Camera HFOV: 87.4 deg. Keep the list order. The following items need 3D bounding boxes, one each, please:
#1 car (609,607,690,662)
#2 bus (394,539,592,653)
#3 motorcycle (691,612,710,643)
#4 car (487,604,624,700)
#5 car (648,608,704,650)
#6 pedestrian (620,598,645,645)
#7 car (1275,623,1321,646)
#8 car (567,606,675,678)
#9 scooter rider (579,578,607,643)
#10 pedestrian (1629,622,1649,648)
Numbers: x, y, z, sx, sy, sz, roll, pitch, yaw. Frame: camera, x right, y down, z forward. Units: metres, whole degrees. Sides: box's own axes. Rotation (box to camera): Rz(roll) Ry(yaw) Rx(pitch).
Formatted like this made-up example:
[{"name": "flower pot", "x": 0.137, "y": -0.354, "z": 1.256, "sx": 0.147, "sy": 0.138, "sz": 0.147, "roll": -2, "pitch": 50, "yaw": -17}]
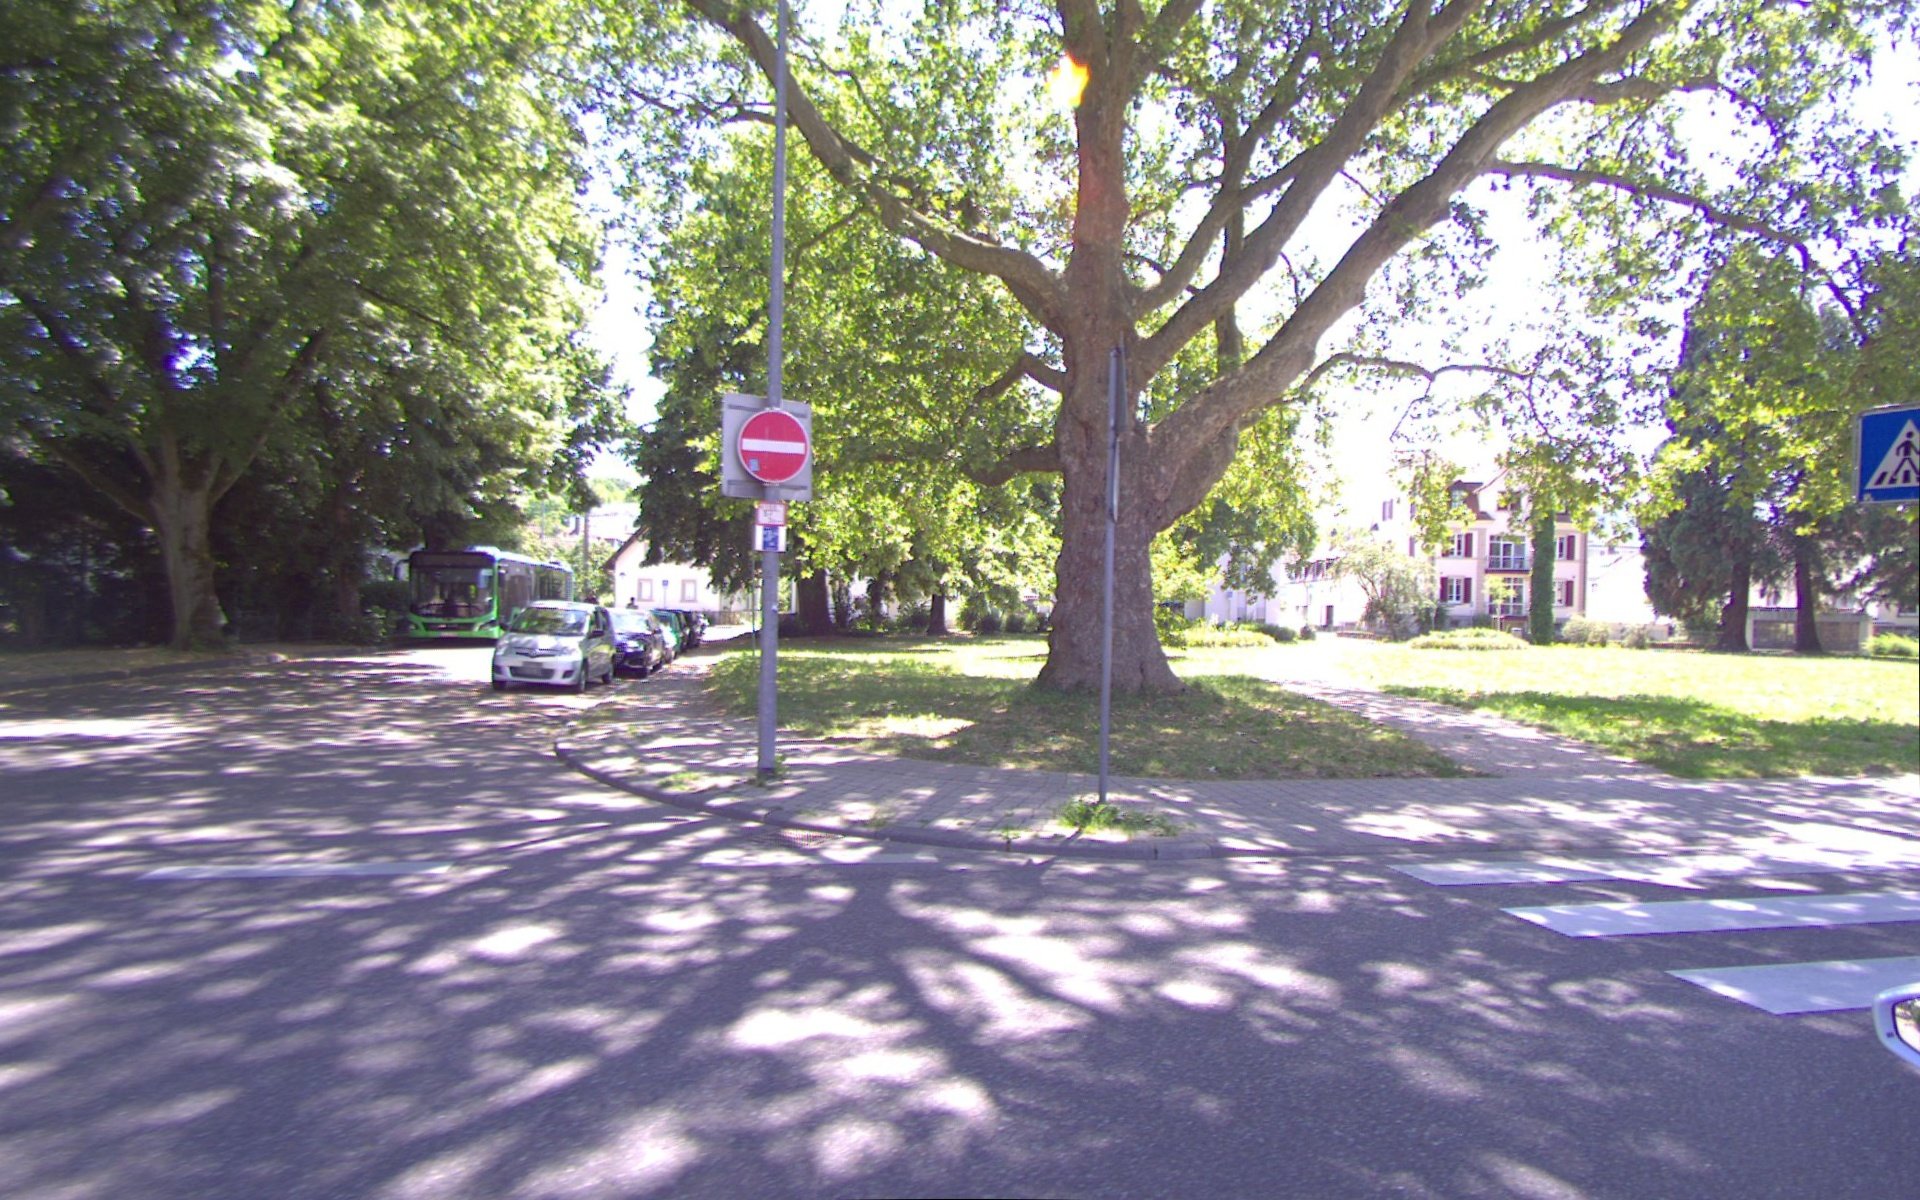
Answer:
[{"name": "car", "x": -9.063, "y": 0.962, "z": 29.610, "sx": 1.725, "sy": 1.458, "sz": 4.760, "roll": 1, "pitch": -1, "yaw": -11}, {"name": "bus", "x": -16.755, "y": -0.047, "z": 37.729, "sx": 2.826, "sy": 3.339, "sz": 15.919, "roll": 1, "pitch": -1, "yaw": -11}, {"name": "motorcycle", "x": -12.717, "y": 1.348, "z": 49.337, "sx": 0.700, "sy": 1.445, "sz": 2.257, "roll": 1, "pitch": 0, "yaw": -10}, {"name": "car", "x": -7.147, "y": 0.861, "z": 18.056, "sx": 1.572, "sy": 1.517, "sz": 3.479, "roll": 2, "pitch": -1, "yaw": -11}, {"name": "car", "x": -10.868, "y": 1.088, "z": 38.606, "sx": 1.729, "sy": 1.513, "sz": 3.910, "roll": 1, "pitch": 0, "yaw": -11}, {"name": "pedestrian", "x": -12.850, "y": 0.849, "z": 39.460, "sx": 0.708, "sy": 1.826, "sz": 0.940, "roll": 1, "pitch": 0, "yaw": -5}, {"name": "car", "x": 25.554, "y": 2.610, "z": 76.066, "sx": 1.962, "sy": 1.604, "sz": 3.999, "roll": 2, "pitch": -2, "yaw": -4}, {"name": "car", "x": -7.777, "y": 0.908, "z": 23.418, "sx": 1.725, "sy": 1.458, "sz": 4.494, "roll": 2, "pitch": -1, "yaw": -11}, {"name": "scooter rider", "x": -13.397, "y": 0.379, "z": 36.682, "sx": 0.727, "sy": 2.348, "sz": 0.926, "roll": 1, "pitch": 0, "yaw": -7}, {"name": "pedestrian", "x": 38.719, "y": 1.974, "z": 57.288, "sx": 0.814, "sy": 1.389, "sz": 0.615, "roll": 4, "pitch": 2, "yaw": 39}]
